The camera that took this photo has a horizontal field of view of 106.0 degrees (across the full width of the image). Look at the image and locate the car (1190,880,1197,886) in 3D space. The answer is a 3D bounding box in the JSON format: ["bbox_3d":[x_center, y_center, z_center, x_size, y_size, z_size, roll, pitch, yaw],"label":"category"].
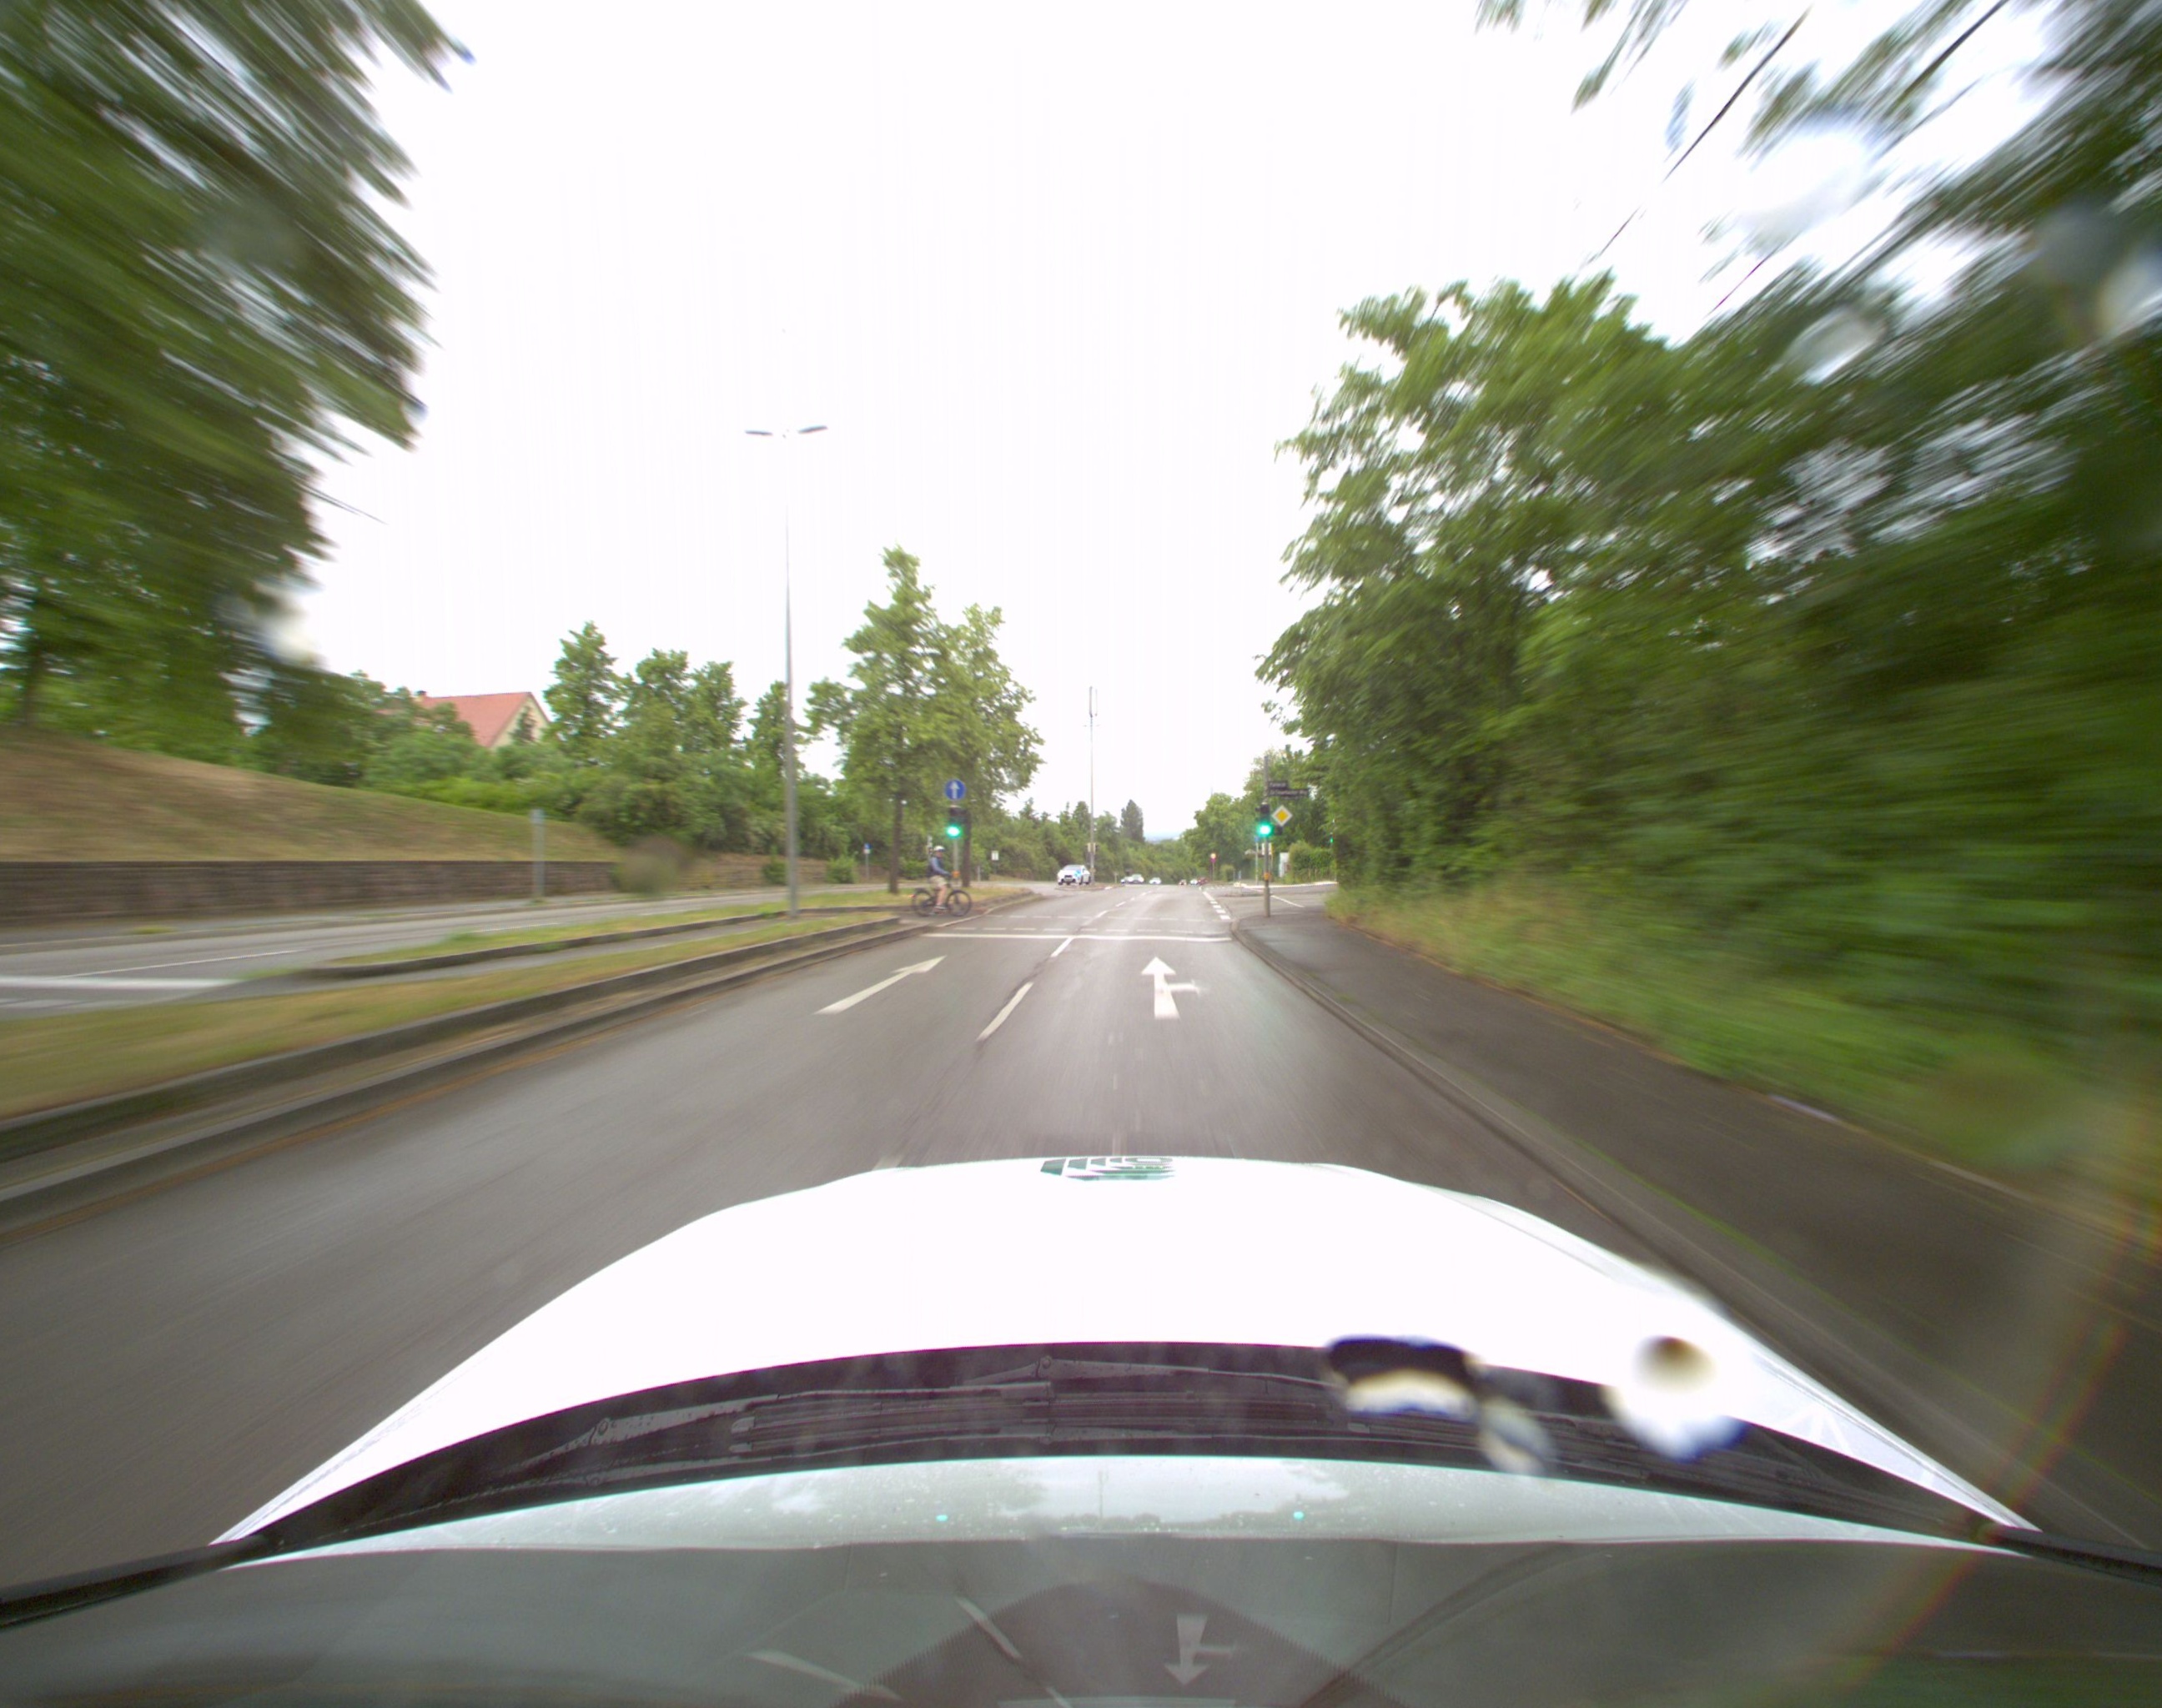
[{"bbox_3d":[33.294,8.592,240.920,1.852,1.590,3.904,2,-2,11],"label":"car"}]

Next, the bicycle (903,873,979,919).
[{"bbox_3d":[-3.705,1.088,21.785,0.547,1.143,2.153,-1,-1,41],"label":"bicycle"}]

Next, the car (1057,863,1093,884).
[{"bbox_3d":[-0.472,1.621,67.976,1.932,1.636,5.021,0,-1,12],"label":"car"}]

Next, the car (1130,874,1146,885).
[{"bbox_3d":[8.036,3.535,114.728,1.767,1.472,4.656,0,-2,9],"label":"car"}]

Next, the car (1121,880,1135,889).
[{"bbox_3d":[8.039,5.184,139.324,1.808,1.438,4.467,0,-2,11],"label":"car"}]

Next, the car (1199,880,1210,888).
[{"bbox_3d":[26.305,6.393,173.414,1.931,1.591,3.943,0,-1,15],"label":"car"}]

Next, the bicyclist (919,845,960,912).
[{"bbox_3d":[-3.805,0.658,21.882,0.716,1.752,0.806,-4,-4,40],"label":"bicyclist"}]

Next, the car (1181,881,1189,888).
[{"bbox_3d":[27.812,8.151,217.769,1.715,1.566,3.902,2,-2,9],"label":"car"}]

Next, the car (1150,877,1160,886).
[{"bbox_3d":[15.471,5.706,169.379,1.713,1.591,4.012,0,-1,11],"label":"car"}]
